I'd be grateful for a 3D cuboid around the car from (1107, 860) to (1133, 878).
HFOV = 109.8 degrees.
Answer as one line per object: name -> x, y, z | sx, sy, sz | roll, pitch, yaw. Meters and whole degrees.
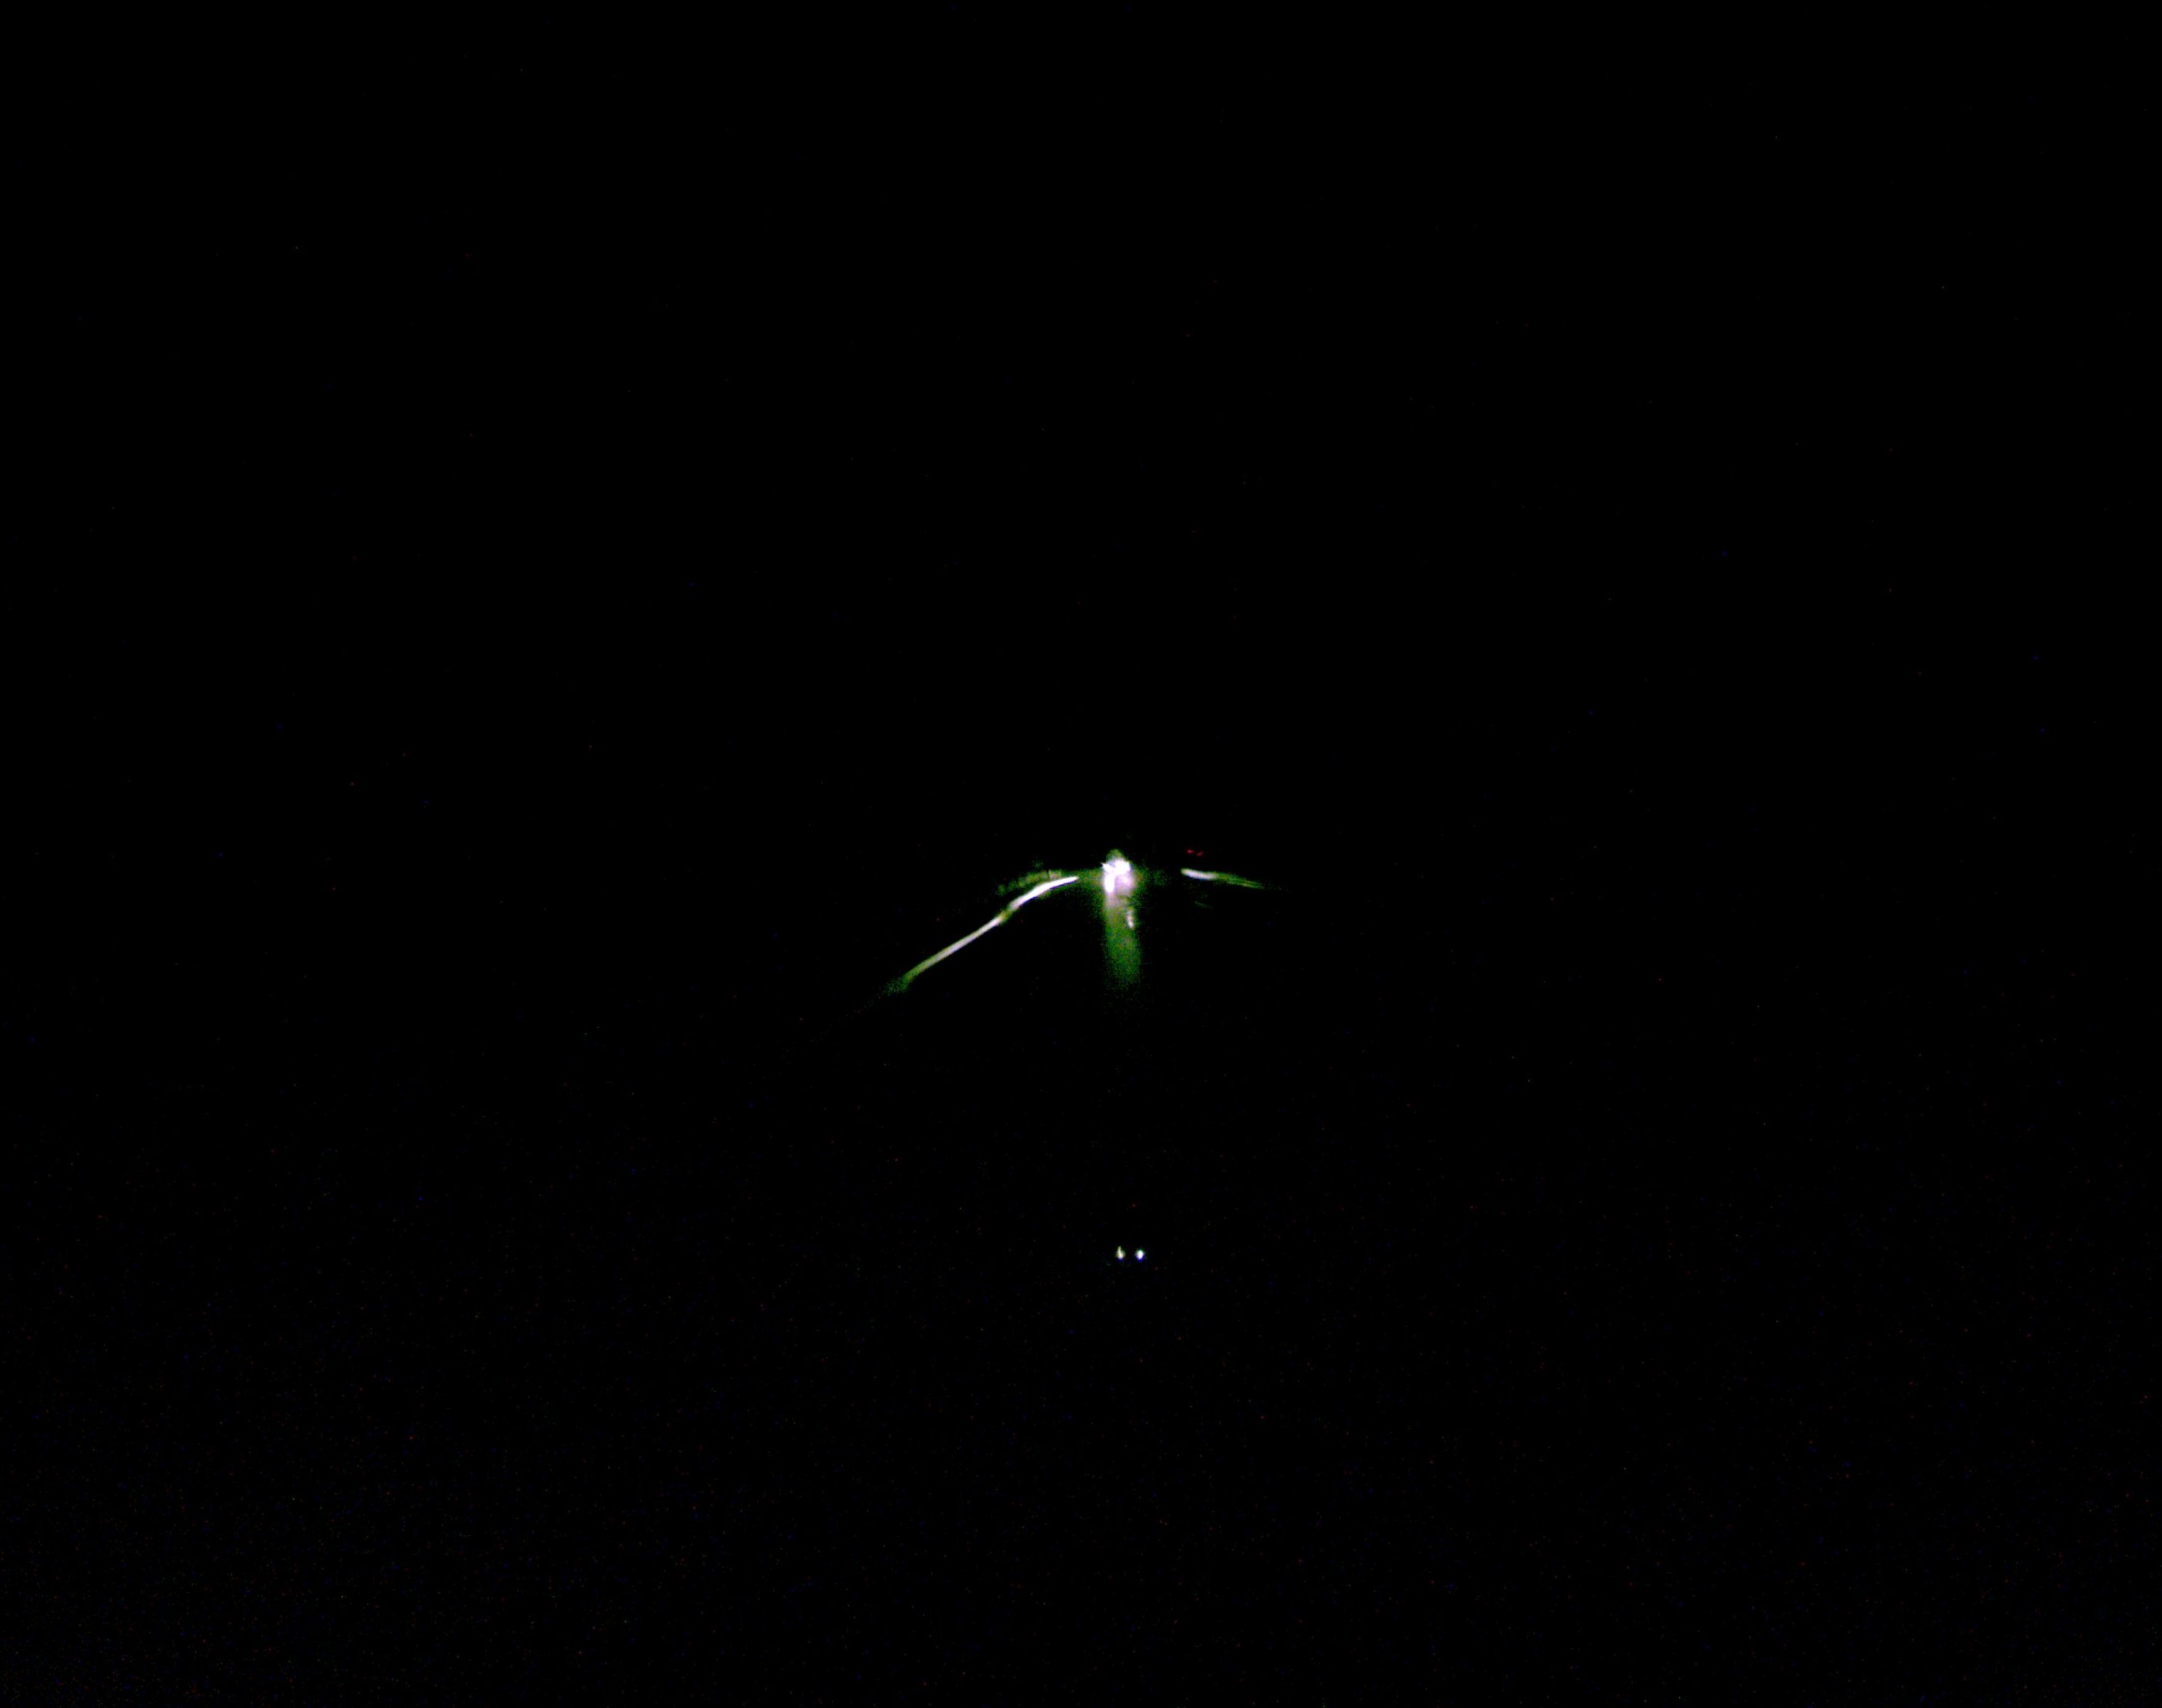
car -> 3.376, 1.308, 64.945 | 1.775, 1.444, 4.139 | -1, -1, 8
